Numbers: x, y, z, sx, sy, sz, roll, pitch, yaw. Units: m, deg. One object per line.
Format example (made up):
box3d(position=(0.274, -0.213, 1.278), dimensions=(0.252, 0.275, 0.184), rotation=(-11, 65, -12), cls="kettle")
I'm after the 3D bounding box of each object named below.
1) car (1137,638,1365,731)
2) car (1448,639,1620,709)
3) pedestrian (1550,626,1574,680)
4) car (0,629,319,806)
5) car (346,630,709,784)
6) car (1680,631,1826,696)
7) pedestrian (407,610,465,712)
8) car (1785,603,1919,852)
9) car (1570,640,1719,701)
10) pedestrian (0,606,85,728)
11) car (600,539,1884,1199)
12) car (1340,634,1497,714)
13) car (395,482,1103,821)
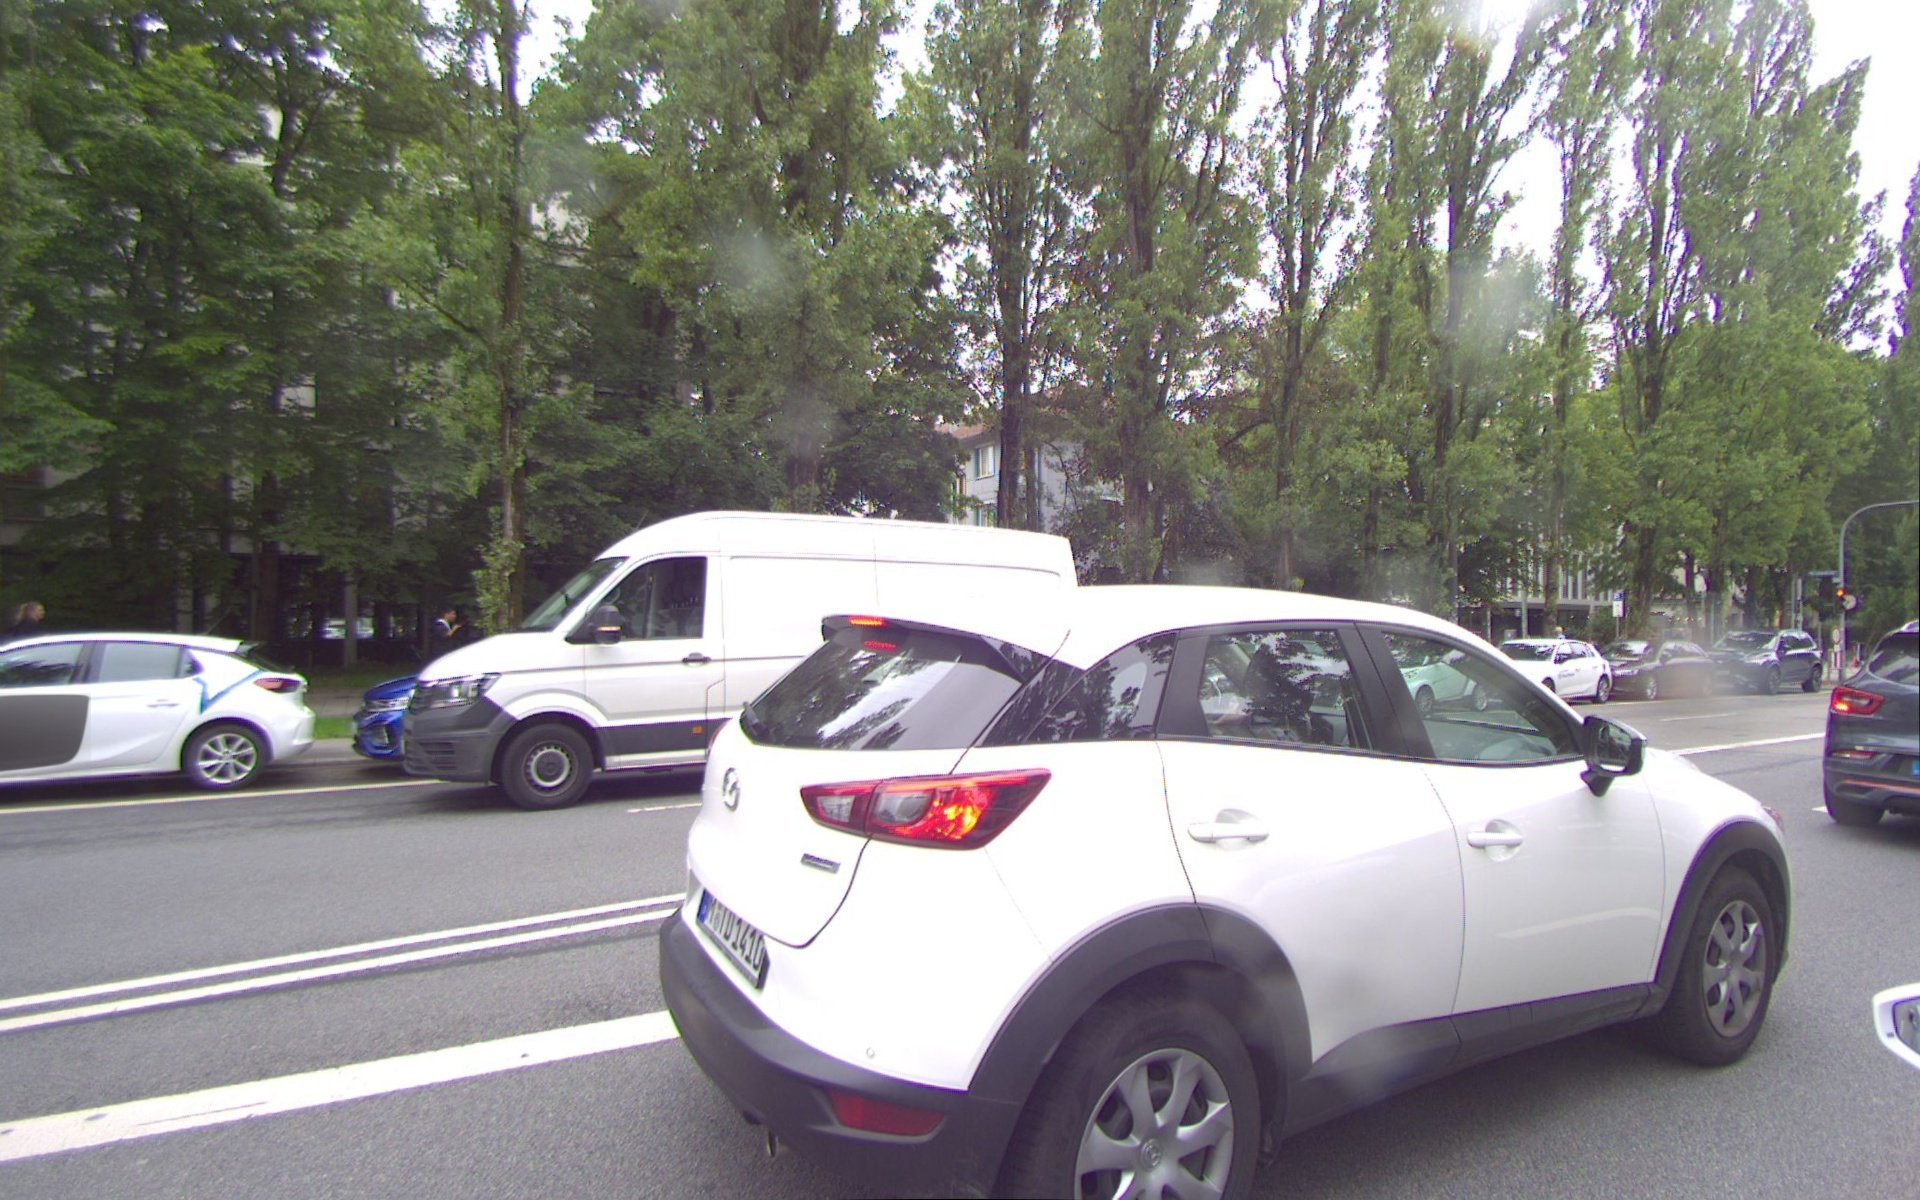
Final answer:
box3d(position=(5.068, 1.415, 17.423), dimensions=(3.805, 1.444, 1.594), rotation=(1, -4, -30), cls="car")
box3d(position=(12.725, 1.585, 22.206), dimensions=(4.123, 1.407, 1.614), rotation=(1, -4, -34), cls="car")
box3d(position=(17.597, 1.541, 29.362), dimensions=(0.390, 1.548, 0.463), rotation=(1, -1, -30), cls="pedestrian")
box3d(position=(-8.381, 1.029, 9.194), dimensions=(4.187, 1.471, 1.761), rotation=(1, -4, -33), cls="car")
box3d(position=(-4.821, 1.112, 11.308), dimensions=(3.547, 1.470, 1.700), rotation=(1, -4, -33), cls="car")
box3d(position=(22.273, 1.749, 28.173), dimensions=(4.646, 1.675, 1.838), rotation=(1, -4, -34), cls="car")
box3d(position=(-9.539, 1.099, 18.287), dimensions=(0.879, 1.795, 0.733), rotation=(1, 0, -30), cls="pedestrian")
box3d(position=(8.146, 0.887, 7.477), dimensions=(4.138, 1.607, 1.826), rotation=(1, 0, -31), cls="car")
box3d(position=(17.098, 1.721, 25.044), dimensions=(4.123, 1.407, 1.614), rotation=(1, -4, -34), cls="car")
box3d(position=(-13.773, 0.979, 14.977), dimensions=(0.946, 1.764, 0.663), rotation=(1, -1, -30), cls="pedestrian")
box3d(position=(1.026, 0.723, 3.357), dimensions=(3.960, 1.545, 1.897), rotation=(1, -1, -29), cls="car")
box3d(position=(9.111, 1.444, 19.934), dimensions=(2.932, 1.466, 1.420), rotation=(1, -4, -32), cls="car")
box3d(position=(-1.841, 0.492, 10.186), dimensions=(6.683, 2.515, 2.216), rotation=(1, -3, -32), cls="car")
